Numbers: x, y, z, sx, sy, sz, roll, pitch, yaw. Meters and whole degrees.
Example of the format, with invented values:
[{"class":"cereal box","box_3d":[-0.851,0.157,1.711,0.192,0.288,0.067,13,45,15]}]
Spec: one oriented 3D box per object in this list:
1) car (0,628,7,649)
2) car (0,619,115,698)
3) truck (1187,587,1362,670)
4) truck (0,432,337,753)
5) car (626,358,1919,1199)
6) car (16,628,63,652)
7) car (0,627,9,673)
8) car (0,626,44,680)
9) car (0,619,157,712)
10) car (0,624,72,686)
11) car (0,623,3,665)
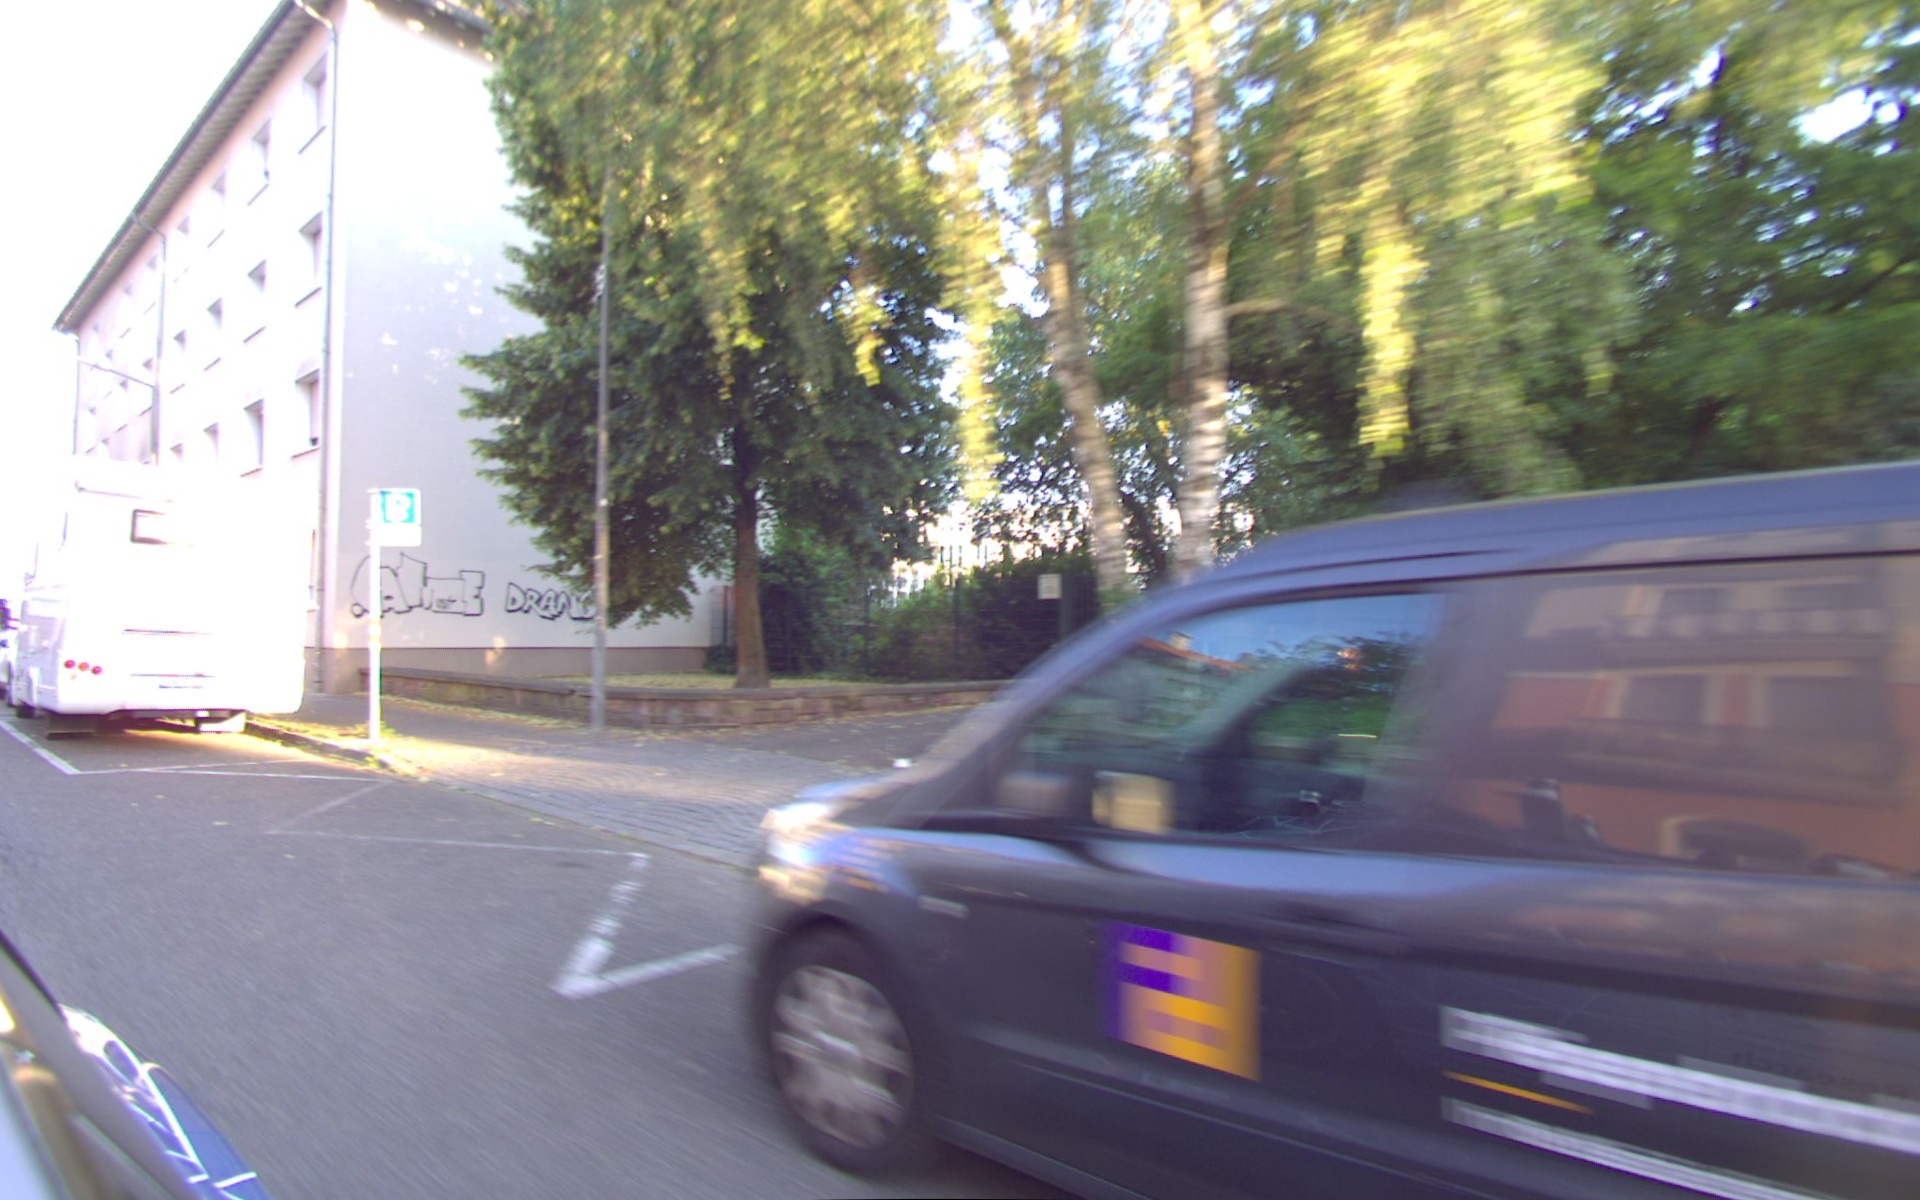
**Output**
[{"class":"car","box_3d":[-72.303,2.832,75.215,4.002,1.530,1.971,-2,-3,44]},{"class":"car","box_3d":[-19.872,1.245,21.845,4.065,1.545,1.771,-2,-4,40]},{"class":"truck","box_3d":[11.073,0.985,35.832,5.497,2.725,2.222,-1,-1,35]},{"class":"truck","box_3d":[-11.631,0.068,14.184,8.014,3.379,2.499,-1,-5,41]},{"class":"car","box_3d":[1.408,0.633,2.438,4.946,1.802,1.890,-1,-4,41]},{"class":"car","box_3d":[-59.848,2.598,65.786,4.002,1.497,1.971,-2,-3,44]},{"class":"car","box_3d":[-32.314,1.616,32.717,4.428,1.455,1.769,-2,-2,40]},{"class":"car","box_3d":[-27.746,1.488,28.812,4.429,1.455,1.973,-2,-2,41]},{"class":"car","box_3d":[-16.559,1.182,18.676,4.908,1.488,1.886,-2,-5,42]},{"class":"car","box_3d":[-23.878,1.336,25.241,4.428,1.455,1.973,-2,-2,40]},{"class":"car","box_3d":[-36.175,1.587,36.474,4.428,1.455,1.973,-2,-2,40]}]
